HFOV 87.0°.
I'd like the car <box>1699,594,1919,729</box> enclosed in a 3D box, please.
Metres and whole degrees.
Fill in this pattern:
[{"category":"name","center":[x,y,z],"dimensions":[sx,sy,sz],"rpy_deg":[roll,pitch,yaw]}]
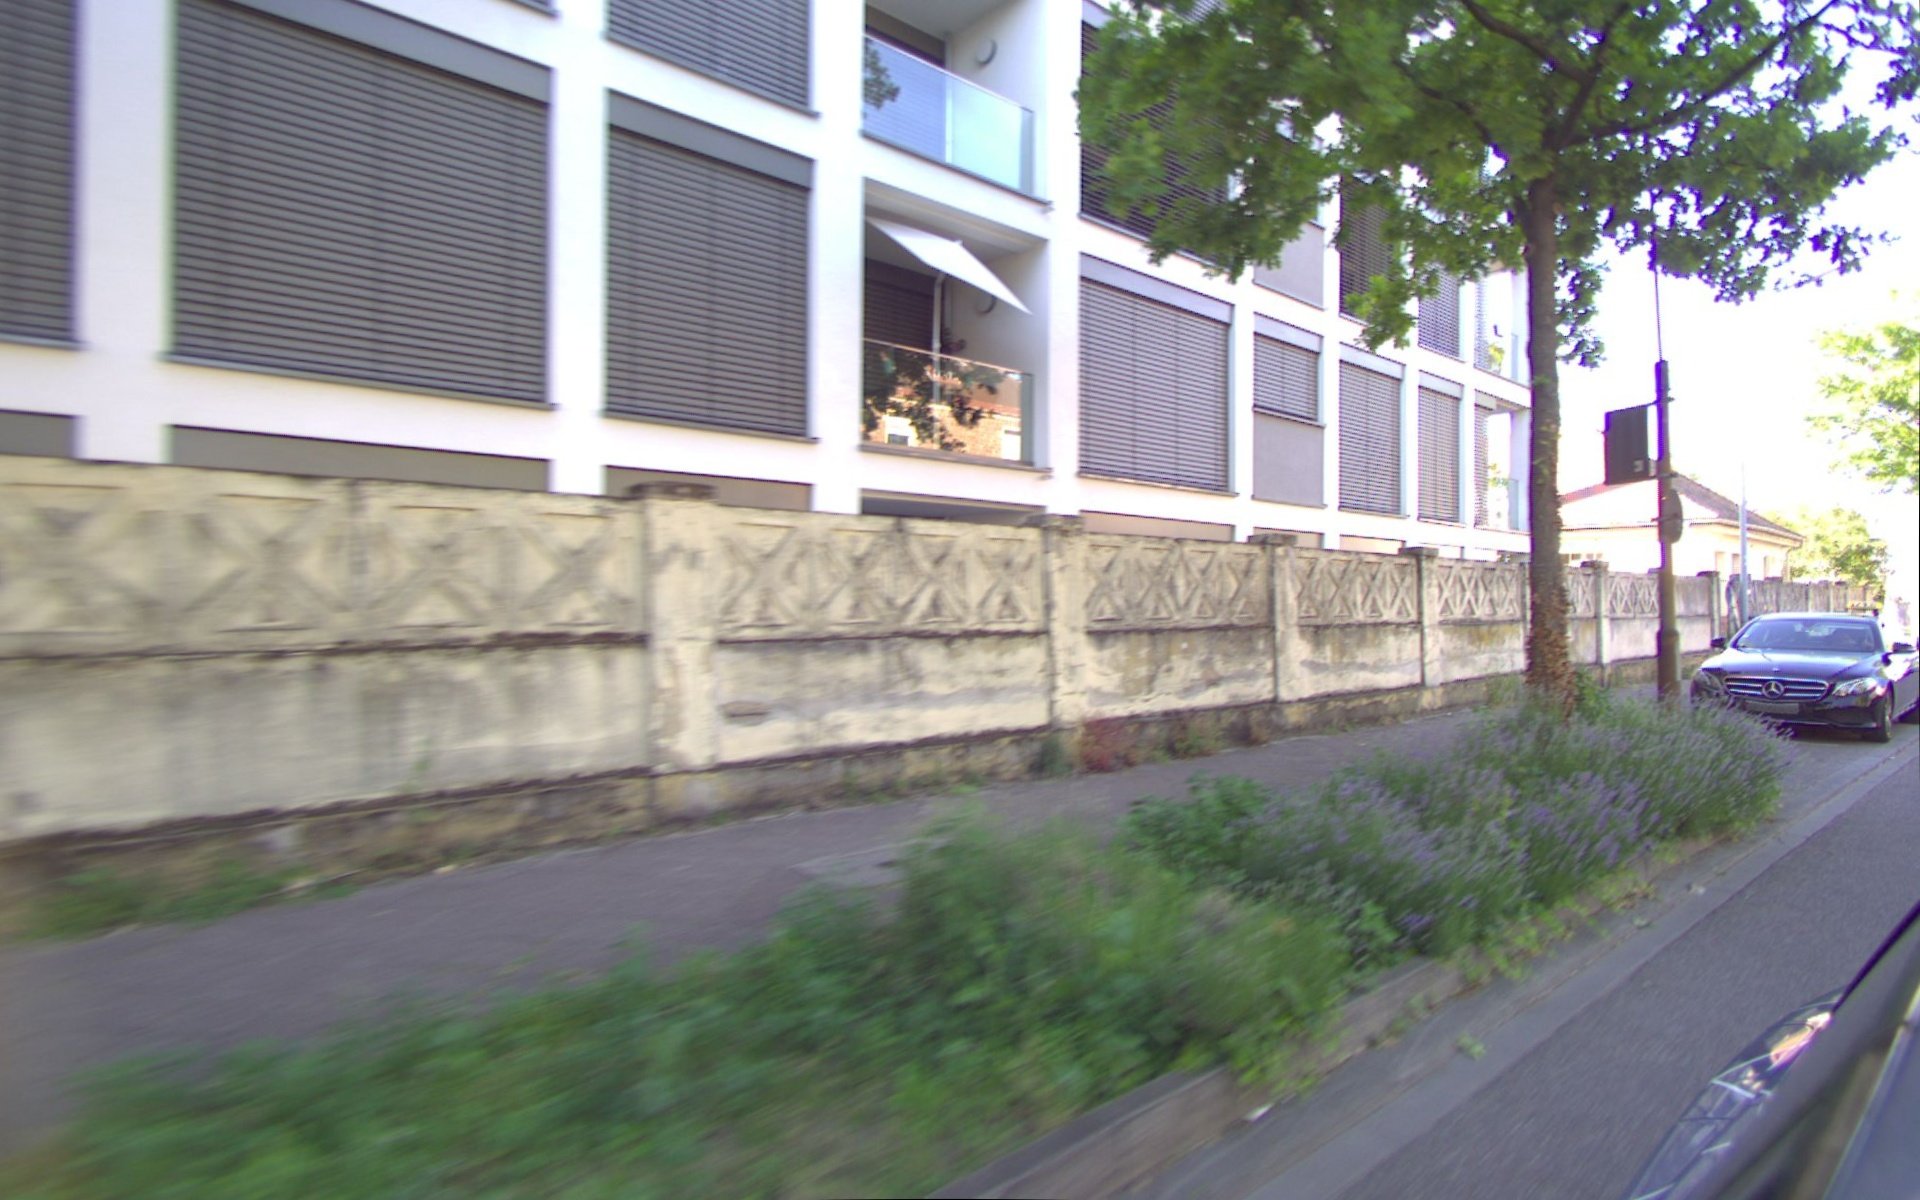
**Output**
[{"category":"car","center":[11.175,0.674,12.959],"dimensions":[4.678,1.429,1.723],"rpy_deg":[1,-1,-40]}]
